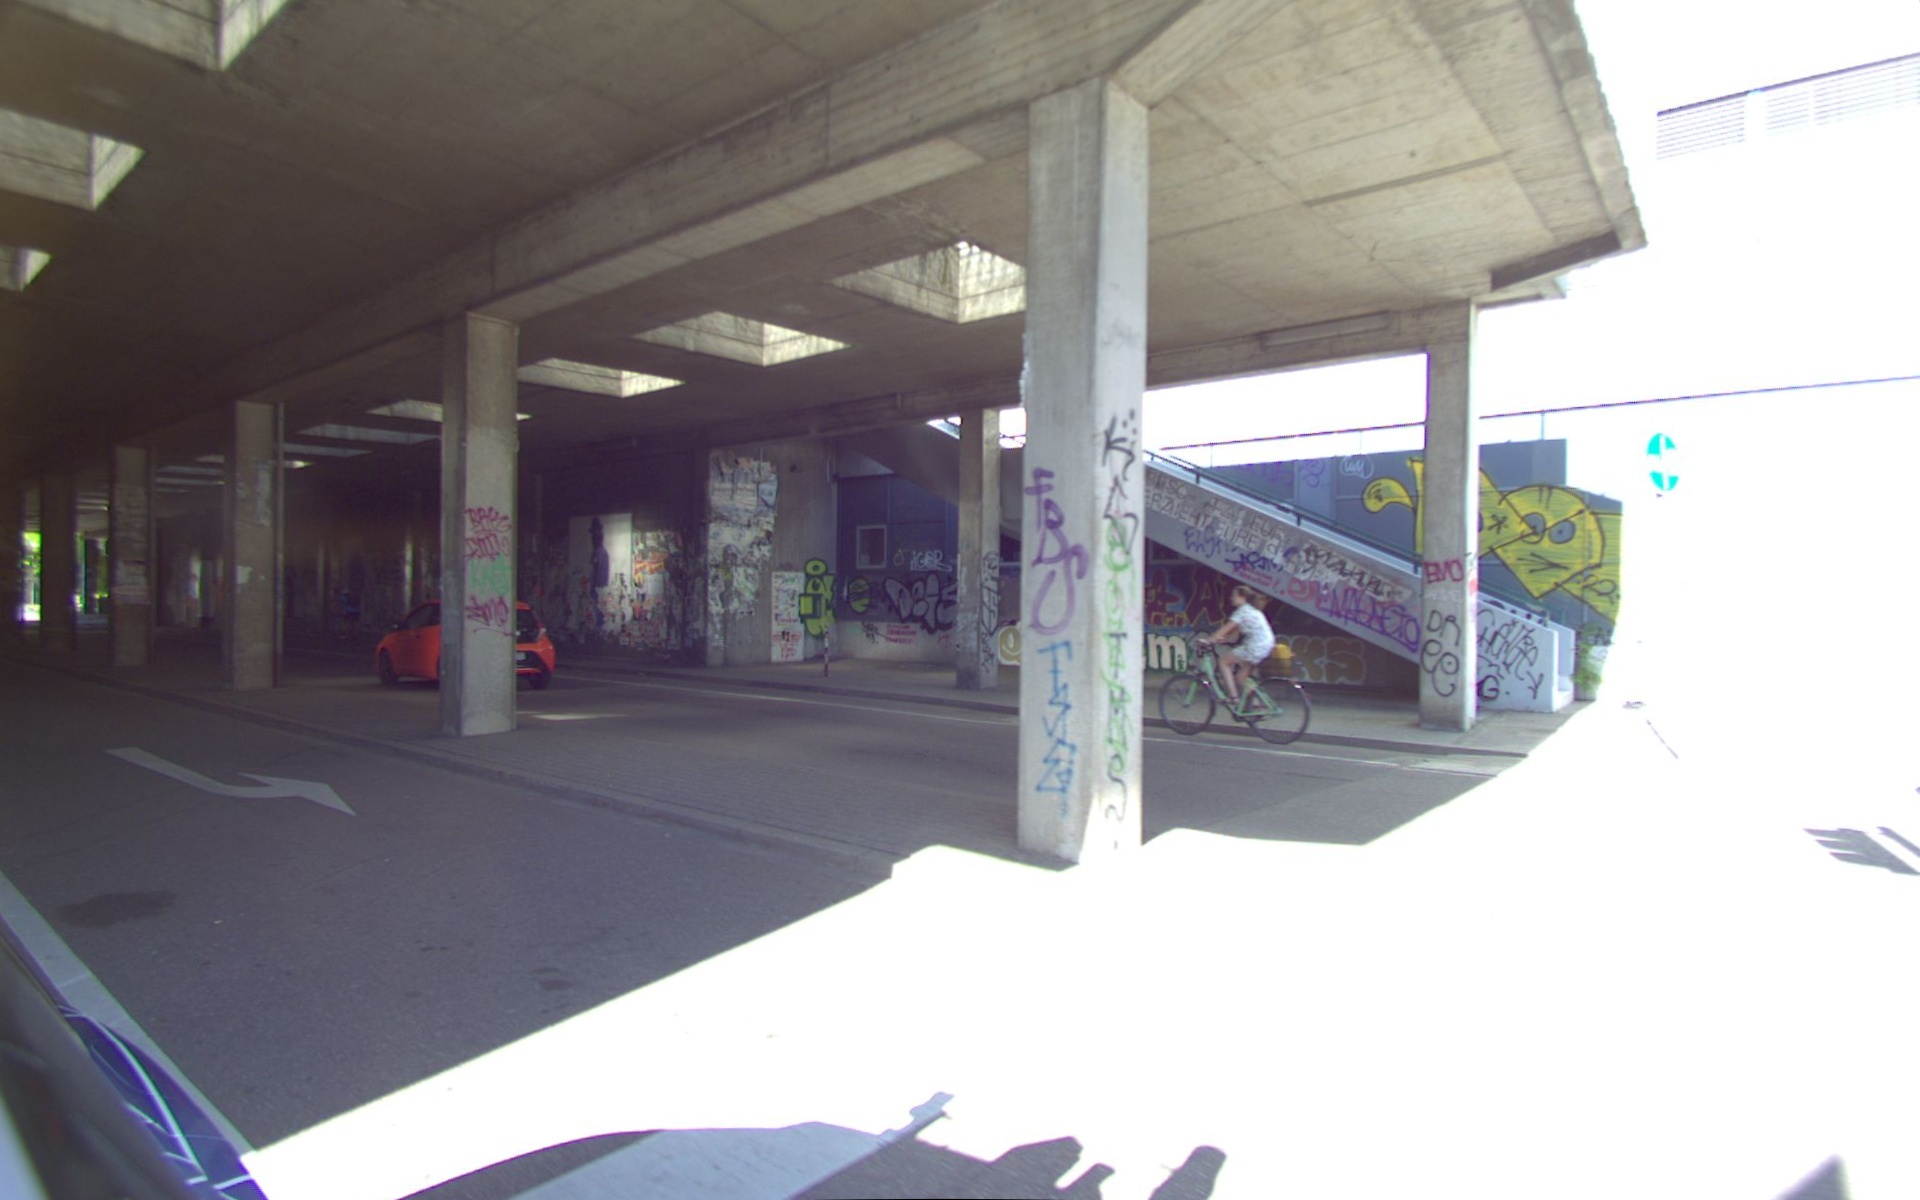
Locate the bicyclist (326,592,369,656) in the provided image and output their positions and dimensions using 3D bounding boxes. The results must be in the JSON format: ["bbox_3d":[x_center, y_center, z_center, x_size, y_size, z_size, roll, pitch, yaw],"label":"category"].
[{"bbox_3d":[-17.038,0.671,28.136,0.966,1.725,0.738,-2,-2,39],"label":"bicyclist"}]

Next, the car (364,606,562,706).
[{"bbox_3d":[-8.182,0.831,16.561,3.460,1.452,1.641,0,-1,40],"label":"car"}]

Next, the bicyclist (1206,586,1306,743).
[{"bbox_3d":[3.270,0.682,11.183,0.909,1.645,0.599,0,-1,40],"label":"bicyclist"}]

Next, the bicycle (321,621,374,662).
[{"bbox_3d":[-17.060,1.158,28.170,1.858,1.098,0.691,-3,-2,39],"label":"bicycle"}]

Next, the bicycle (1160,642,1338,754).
[{"bbox_3d":[3.171,1.044,11.233,1.858,1.098,0.520,0,-1,40],"label":"bicycle"}]
